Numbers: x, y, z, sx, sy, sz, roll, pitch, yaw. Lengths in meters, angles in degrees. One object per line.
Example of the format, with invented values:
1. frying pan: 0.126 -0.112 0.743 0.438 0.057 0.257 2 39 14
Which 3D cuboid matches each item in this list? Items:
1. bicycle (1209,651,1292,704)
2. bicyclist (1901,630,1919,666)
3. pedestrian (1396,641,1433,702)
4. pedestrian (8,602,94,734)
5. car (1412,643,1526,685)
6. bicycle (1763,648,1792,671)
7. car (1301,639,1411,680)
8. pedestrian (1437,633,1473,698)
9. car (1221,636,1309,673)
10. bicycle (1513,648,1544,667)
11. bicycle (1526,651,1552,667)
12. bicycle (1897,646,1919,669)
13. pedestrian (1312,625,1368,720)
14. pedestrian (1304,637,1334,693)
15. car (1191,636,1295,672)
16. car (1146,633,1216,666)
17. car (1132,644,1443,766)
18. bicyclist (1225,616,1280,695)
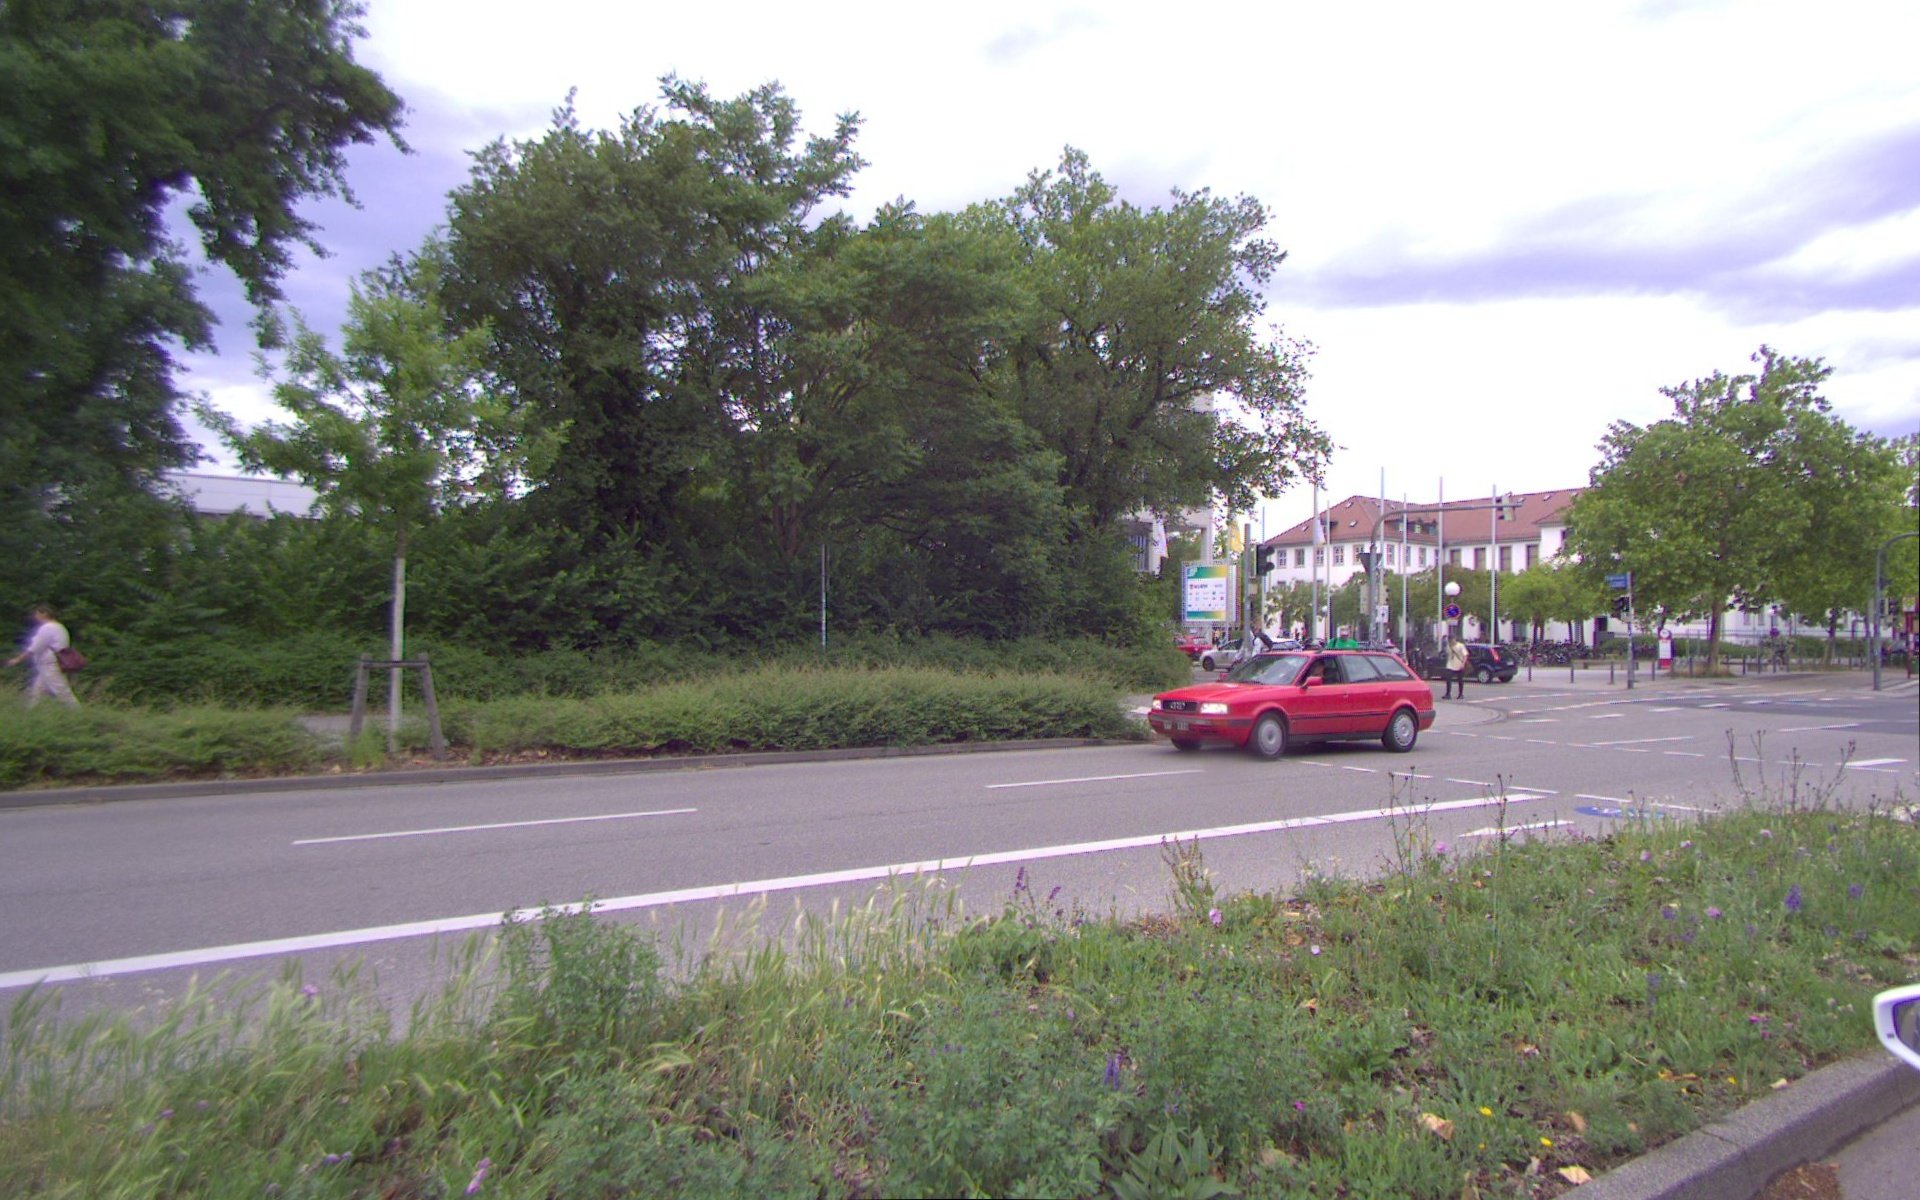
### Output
1. bicycle: 6.290 1.667 21.746 1.590 1.076 0.667 1 0 -10
2. bicyclist: 44.399 2.245 46.923 0.581 1.647 0.488 0 1 -30
3. pedestrian: 12.219 1.911 27.019 0.776 1.578 0.700 2 -4 16
4. pedestrian: -11.852 0.876 13.125 0.663 1.657 0.697 1 -3 -30
5. car: 19.764 2.445 39.099 1.548 1.240 3.630 -7 4 -35
6. bicycle: 40.934 2.971 50.295 2.025 1.074 0.603 1 -3 -37
7. car: 16.736 2.497 42.601 4.006 1.472 1.613 -2 3 43
8. pedestrian: 13.848 1.832 28.075 0.827 1.761 0.830 0 -5 30
9. car: 14.388 2.548 47.582 1.667 1.560 3.857 -1 0 -32
10. bicycle: 31.941 3.239 56.437 1.385 1.066 0.586 -3 -3 41
11. bicycle: 32.669 3.308 56.684 1.191 0.892 0.263 -2 -3 38
12. bicycle: 44.401 2.686 46.935 1.571 1.019 0.485 0 1 -31
13. pedestrian: 7.471 1.404 19.796 0.924 1.782 0.876 2 -1 16
14. pedestrian: 10.344 1.863 28.936 0.563 1.545 0.846 0 -6 36
15. car: 12.029 2.284 42.921 1.693 1.450 4.188 1 -3 -34
16. car: 11.361 2.511 51.703 1.547 1.499 3.322 1 0 -36
17. car: 4.596 1.353 13.982 4.242 1.437 1.706 1 -2 -29
18. bicyclist: 6.320 1.188 21.745 0.944 1.657 0.667 1 0 -10
